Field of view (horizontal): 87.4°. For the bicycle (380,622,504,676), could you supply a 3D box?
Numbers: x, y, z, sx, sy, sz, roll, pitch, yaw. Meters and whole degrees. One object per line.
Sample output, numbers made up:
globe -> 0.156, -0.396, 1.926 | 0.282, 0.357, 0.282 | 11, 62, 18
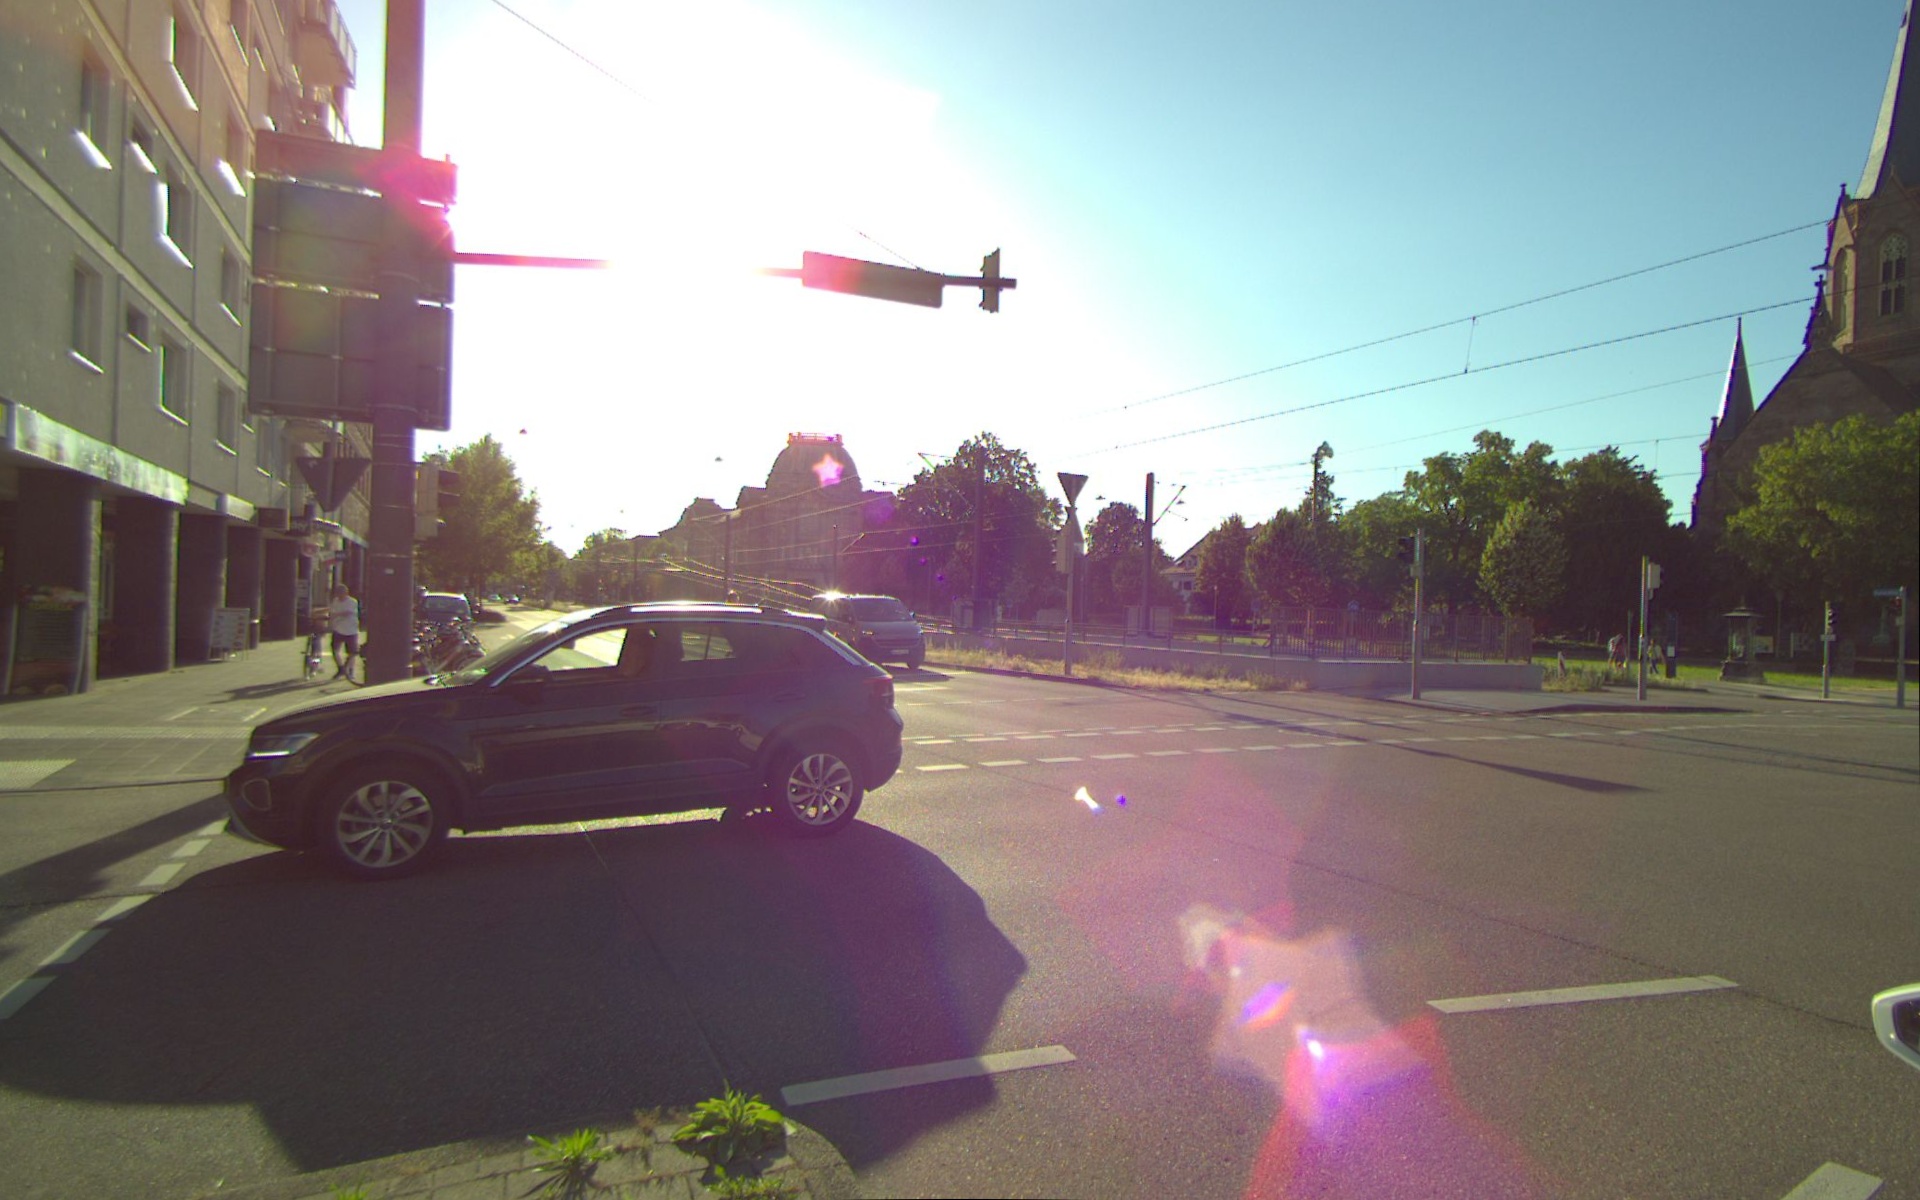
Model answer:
bicycle -> -10.982, 1.042, 21.366 | 2.270, 1.065, 0.732 | 3, -1, -27

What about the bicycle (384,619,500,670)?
bicycle -> -11.657, 1.010, 22.682 | 2.270, 1.065, 0.559 | 3, -1, -27

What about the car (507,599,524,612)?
car -> -73.231, 0.829, 165.513 | 1.978, 2.040, 3.964 | 2, -1, -32

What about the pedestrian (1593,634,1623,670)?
pedestrian -> 32.310, 2.585, 50.066 | 0.838, 1.719, 1.004 | 2, 1, -42

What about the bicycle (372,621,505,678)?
bicycle -> -10.309, 0.983, 19.944 | 2.270, 1.065, 0.732 | 3, -1, -27

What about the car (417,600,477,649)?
car -> -17.538, 0.808, 34.278 | 1.675, 1.528, 3.970 | 2, -1, -28

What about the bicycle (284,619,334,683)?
bicycle -> -12.033, 0.913, 18.606 | 0.513, 1.106, 2.052 | 1, -1, -26

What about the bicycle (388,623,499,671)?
bicycle -> -12.165, 1.123, 23.738 | 2.270, 1.065, 0.643 | 3, -1, -27

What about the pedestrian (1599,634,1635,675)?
pedestrian -> 28.945, 2.379, 44.264 | 0.828, 1.719, 1.016 | 3, 1, -4

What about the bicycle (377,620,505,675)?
bicycle -> -10.626, 0.986, 20.647 | 2.270, 1.065, 0.732 | 3, -1, -27

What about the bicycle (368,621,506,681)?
bicycle -> -9.971, 0.986, 19.229 | 2.270, 1.065, 0.732 | 3, -1, -27

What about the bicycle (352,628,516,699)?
bicycle -> -8.468, 1.023, 16.273 | 2.270, 1.065, 0.732 | 2, -1, -27

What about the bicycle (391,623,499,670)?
bicycle -> -12.503, 1.138, 24.448 | 2.270, 1.065, 0.732 | 3, -1, -27

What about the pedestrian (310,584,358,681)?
pedestrian -> -11.679, 0.601, 18.757 | 0.676, 1.746, 0.606 | 2, 2, -27

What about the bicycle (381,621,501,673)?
bicycle -> -11.373, 1.043, 22.075 | 2.270, 1.065, 0.732 | 3, -1, -27

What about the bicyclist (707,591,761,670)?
bicyclist -> -4.711, 0.635, 20.936 | 0.950, 1.619, 0.733 | 1, -1, -26

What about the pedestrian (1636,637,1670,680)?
pedestrian -> 28.824, 2.425, 41.800 | 0.697, 1.719, 0.895 | 2, 1, -6

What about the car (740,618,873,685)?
car -> -3.668, 1.156, 23.370 | 1.779, 1.330, 4.170 | 2, -1, -28

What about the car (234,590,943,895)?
car -> -2.347, 0.785, 6.976 | 4.094, 1.586, 1.788 | 1, -1, -27

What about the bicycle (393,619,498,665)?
bicycle -> -12.857, 1.059, 25.164 | 2.270, 1.065, 0.732 | 3, -1, -27

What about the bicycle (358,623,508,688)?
bicycle -> -9.234, 0.988, 17.696 | 2.270, 1.065, 0.732 | 3, -1, -27

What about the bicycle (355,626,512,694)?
bicycle -> -8.845, 1.016, 16.984 | 2.270, 1.065, 0.732 | 3, -1, -27

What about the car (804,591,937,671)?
car -> -2.639, 0.817, 28.403 | 1.975, 2.040, 4.903 | 2, -1, -28

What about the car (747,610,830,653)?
car -> -6.212, 1.099, 36.101 | 1.779, 1.392, 3.885 | 2, -1, -28

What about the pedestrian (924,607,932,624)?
pedestrian -> -3.541, 1.689, 110.921 | 0.676, 1.847, 0.532 | 2, 0, -23

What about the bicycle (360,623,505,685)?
bicycle -> -9.612, 0.992, 18.391 | 2.270, 1.065, 0.732 | 3, -1, -27
